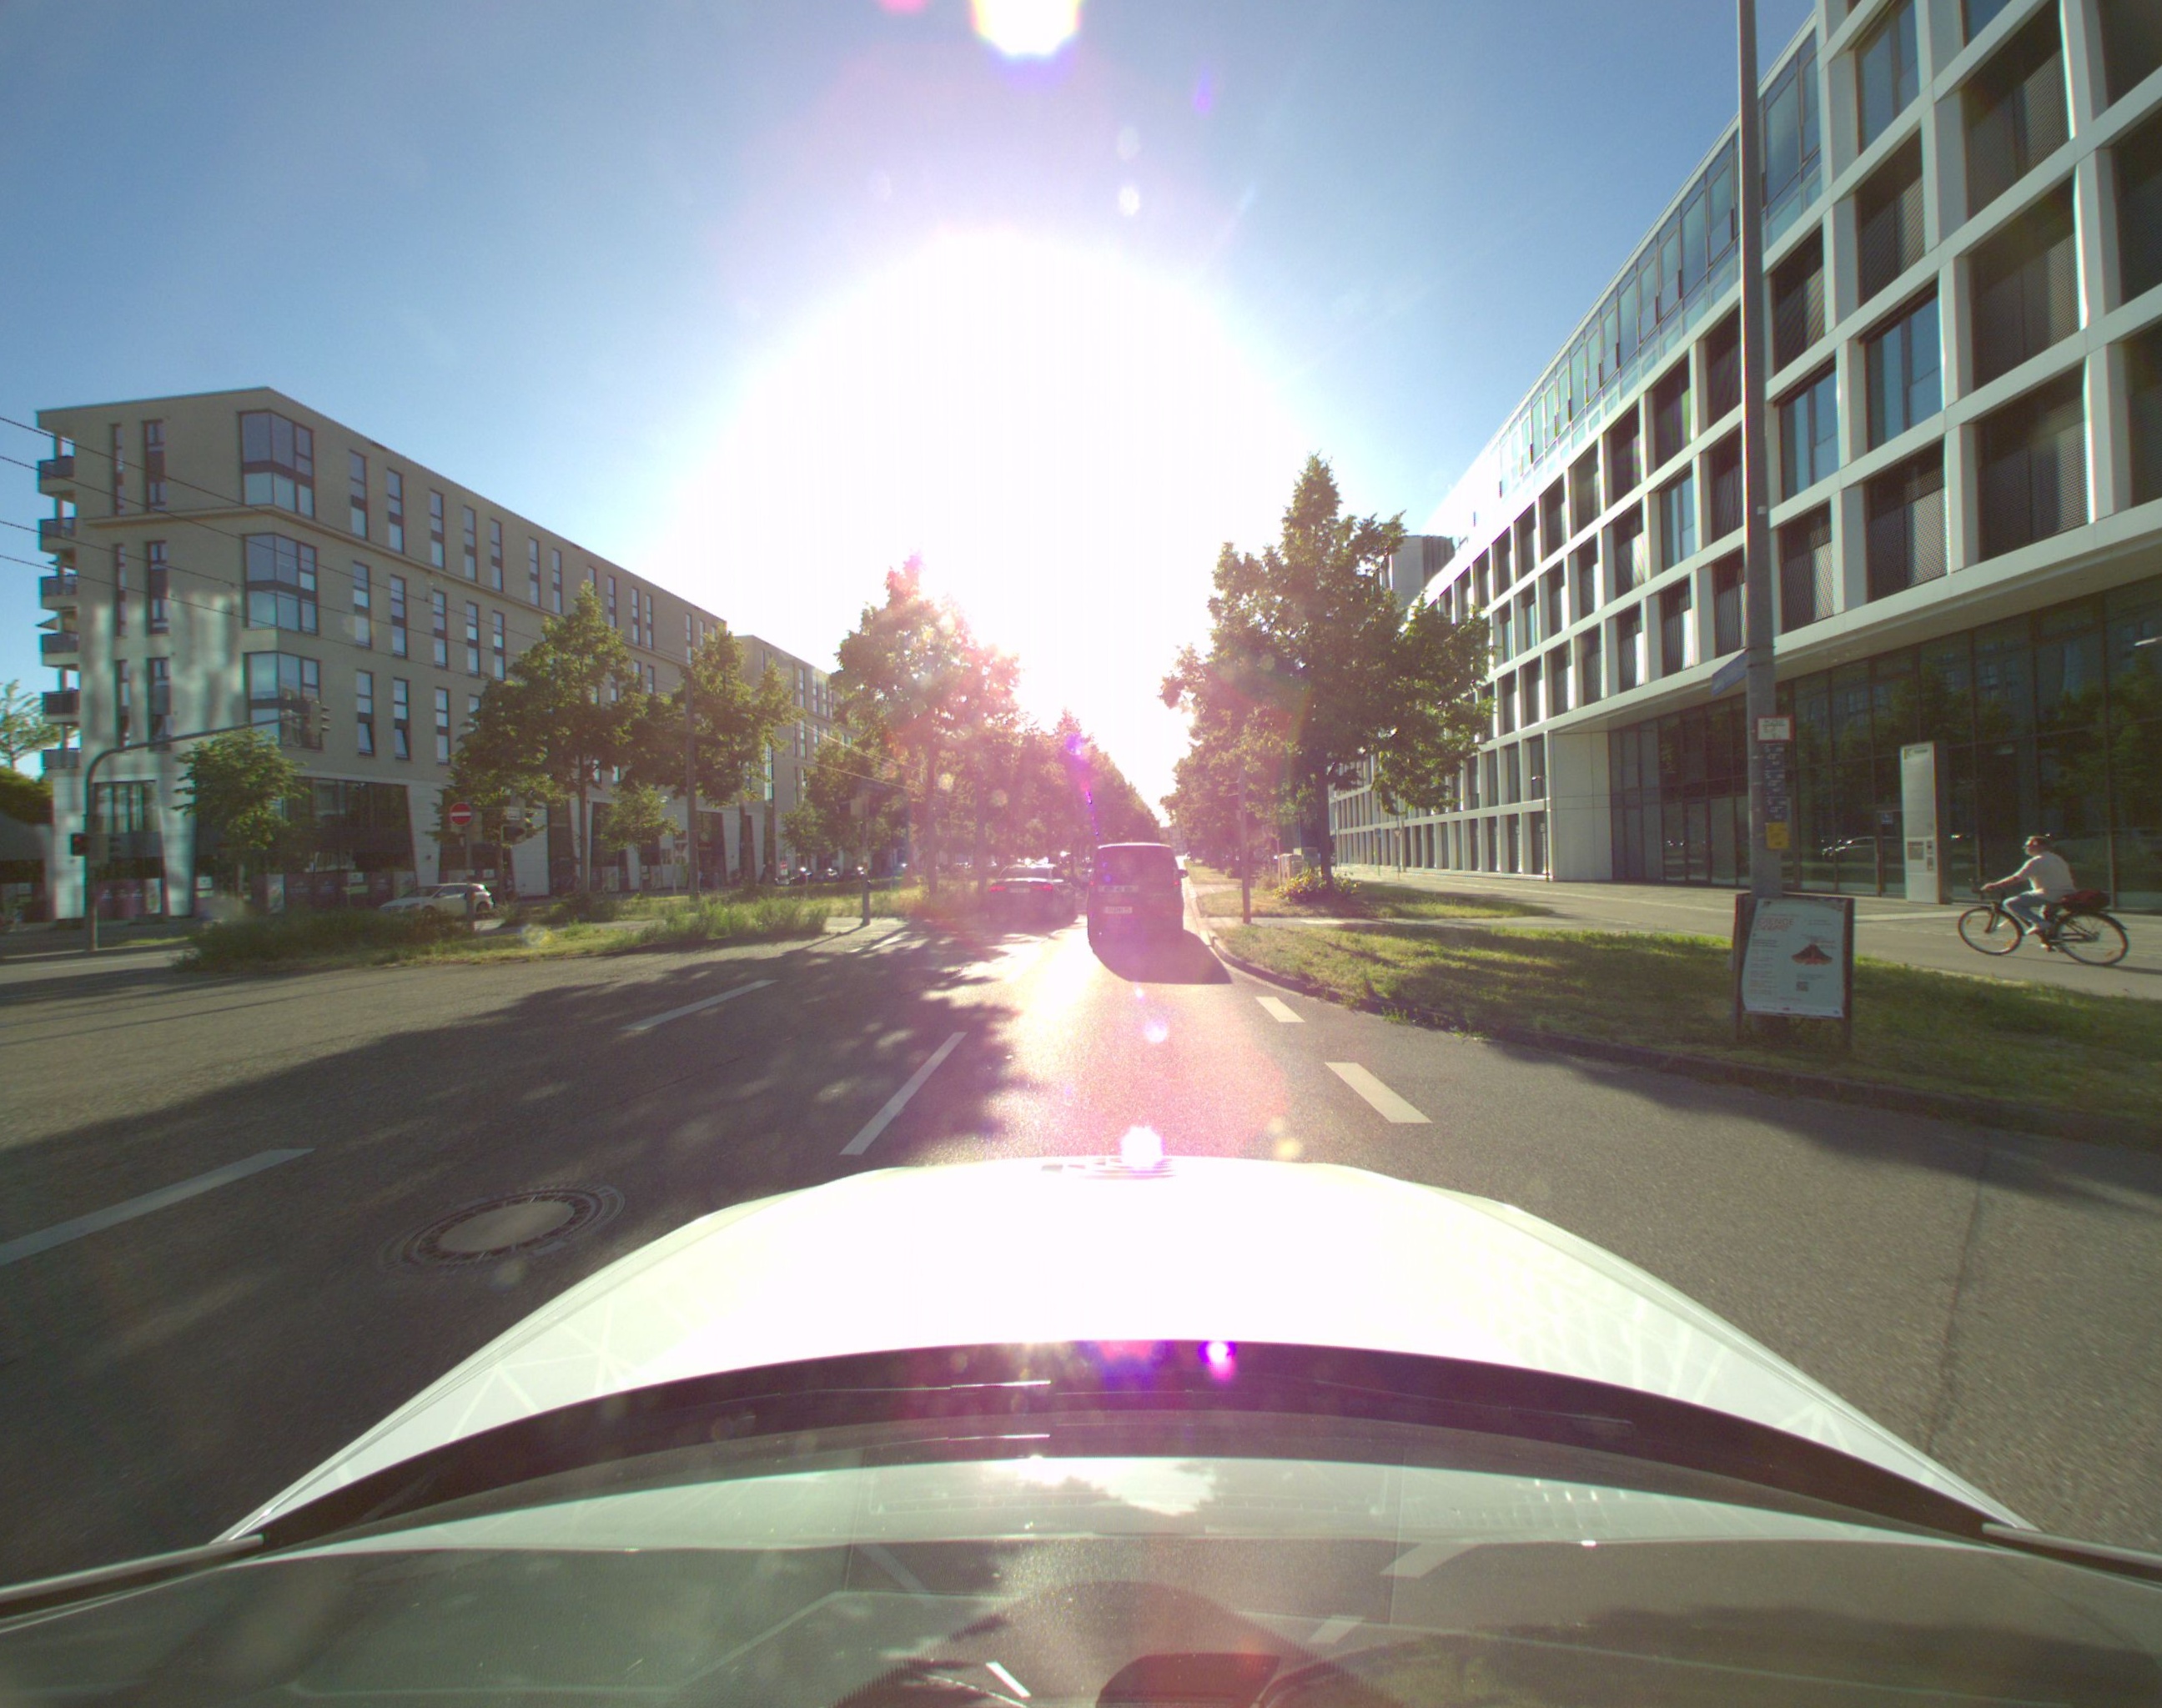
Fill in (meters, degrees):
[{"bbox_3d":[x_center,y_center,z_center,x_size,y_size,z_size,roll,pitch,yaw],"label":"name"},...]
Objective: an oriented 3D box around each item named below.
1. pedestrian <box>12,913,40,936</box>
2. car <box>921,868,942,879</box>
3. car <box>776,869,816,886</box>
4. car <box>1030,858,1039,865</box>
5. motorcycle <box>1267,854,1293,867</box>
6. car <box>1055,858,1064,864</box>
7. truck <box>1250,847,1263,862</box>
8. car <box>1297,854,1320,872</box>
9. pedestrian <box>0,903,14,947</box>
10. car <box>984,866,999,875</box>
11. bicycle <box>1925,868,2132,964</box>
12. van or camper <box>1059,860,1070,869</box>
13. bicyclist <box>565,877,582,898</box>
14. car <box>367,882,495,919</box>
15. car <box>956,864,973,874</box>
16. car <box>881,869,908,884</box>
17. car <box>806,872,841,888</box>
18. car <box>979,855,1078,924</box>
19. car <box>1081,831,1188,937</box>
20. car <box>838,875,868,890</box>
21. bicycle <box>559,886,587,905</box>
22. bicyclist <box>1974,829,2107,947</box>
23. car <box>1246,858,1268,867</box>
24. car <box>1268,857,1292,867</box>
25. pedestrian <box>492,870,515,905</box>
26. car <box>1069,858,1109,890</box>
[{"bbox_3d":[-45.059,3.014,34.774,0.602,0.920,0.429,0,-1,-30],"label":"pedestrian"},{"bbox_3d":[-19.424,2.564,106.096,1.572,1.342,3.719,-2,0,7],"label":"car"},{"bbox_3d":[-23.751,1.951,67.997,1.572,1.342,3.719,-2,0,7],"label":"car"},{"bbox_3d":[-12.306,2.003,215.265,1.723,1.772,4.007,-2,0,7],"label":"car"},{"bbox_3d":[26.997,0.931,110.629,3.375,1.663,1.476,-2,-1,13],"label":"motorcycle"},{"bbox_3d":[-5.807,1.927,221.453,1.746,1.574,4.007,-2,0,7],"label":"car"},{"bbox_3d":[32.232,0.122,149.515,1.822,2.501,5.943,-1,-1,7],"label":"truck"},{"bbox_3d":[22.123,0.855,79.295,1.748,1.611,3.912,-1,0,9],"label":"car"},{"bbox_3d":[-44.703,2.918,33.598,0.602,1.771,0.666,0,-1,-29],"label":"pedestrian"},{"bbox_3d":[-15.250,2.833,138.939,1.572,1.342,3.719,-2,0,7],"label":"car"},{"bbox_3d":[13.119,0.817,11.385,0.737,1.174,1.965,-2,0,7],"label":"bicycle"},{"bbox_3d":[-3.295,2.049,163.992,1.811,1.738,3.719,-2,0,7],"label":"van or camper"},{"bbox_3d":[-31.788,2.068,51.013,0.575,1.293,0.706,-1,-1,7],"label":"bicyclist"},{"bbox_3d":[-28.041,1.954,35.350,1.572,1.342,4.480,-2,0,7],"label":"car"},{"bbox_3d":[-16.893,2.169,118.470,1.572,1.342,3.719,-2,0,7],"label":"car"},{"bbox_3d":[-21.374,2.577,93.510,1.766,1.528,3.813,-2,0,7],"label":"car"},{"bbox_3d":[-23.347,2.355,73.892,1.572,1.342,3.719,-2,0,7],"label":"car"},{"bbox_3d":[-1.216,0.821,20.721,1.799,1.527,4.119,-2,0,6],"label":"car"},{"bbox_3d":[1.043,0.562,16.223,1.800,1.794,4.116,-2,-1,3],"label":"car"},{"bbox_3d":[-22.516,2.782,80.604,1.572,1.342,3.719,-2,0,7],"label":"car"},{"bbox_3d":[-31.778,2.566,50.973,0.525,1.111,1.641,-1,-1,7],"label":"bicycle"},{"bbox_3d":[13.058,0.446,11.117,0.767,1.531,0.851,-2,0,7],"label":"bicyclist"},{"bbox_3d":[28.106,1.290,130.045,3.375,1.358,1.476,-2,-1,13],"label":"car"},{"bbox_3d":[28.785,1.123,117.707,3.375,1.358,1.476,-2,-1,13],"label":"car"},{"bbox_3d":[-30.193,1.739,42.582,0.576,1.812,0.801,-1,-1,3],"label":"pedestrian"},{"bbox_3d":[0.458,0.963,40.442,1.801,1.434,4.115,-2,0,3],"label":"car"}]
